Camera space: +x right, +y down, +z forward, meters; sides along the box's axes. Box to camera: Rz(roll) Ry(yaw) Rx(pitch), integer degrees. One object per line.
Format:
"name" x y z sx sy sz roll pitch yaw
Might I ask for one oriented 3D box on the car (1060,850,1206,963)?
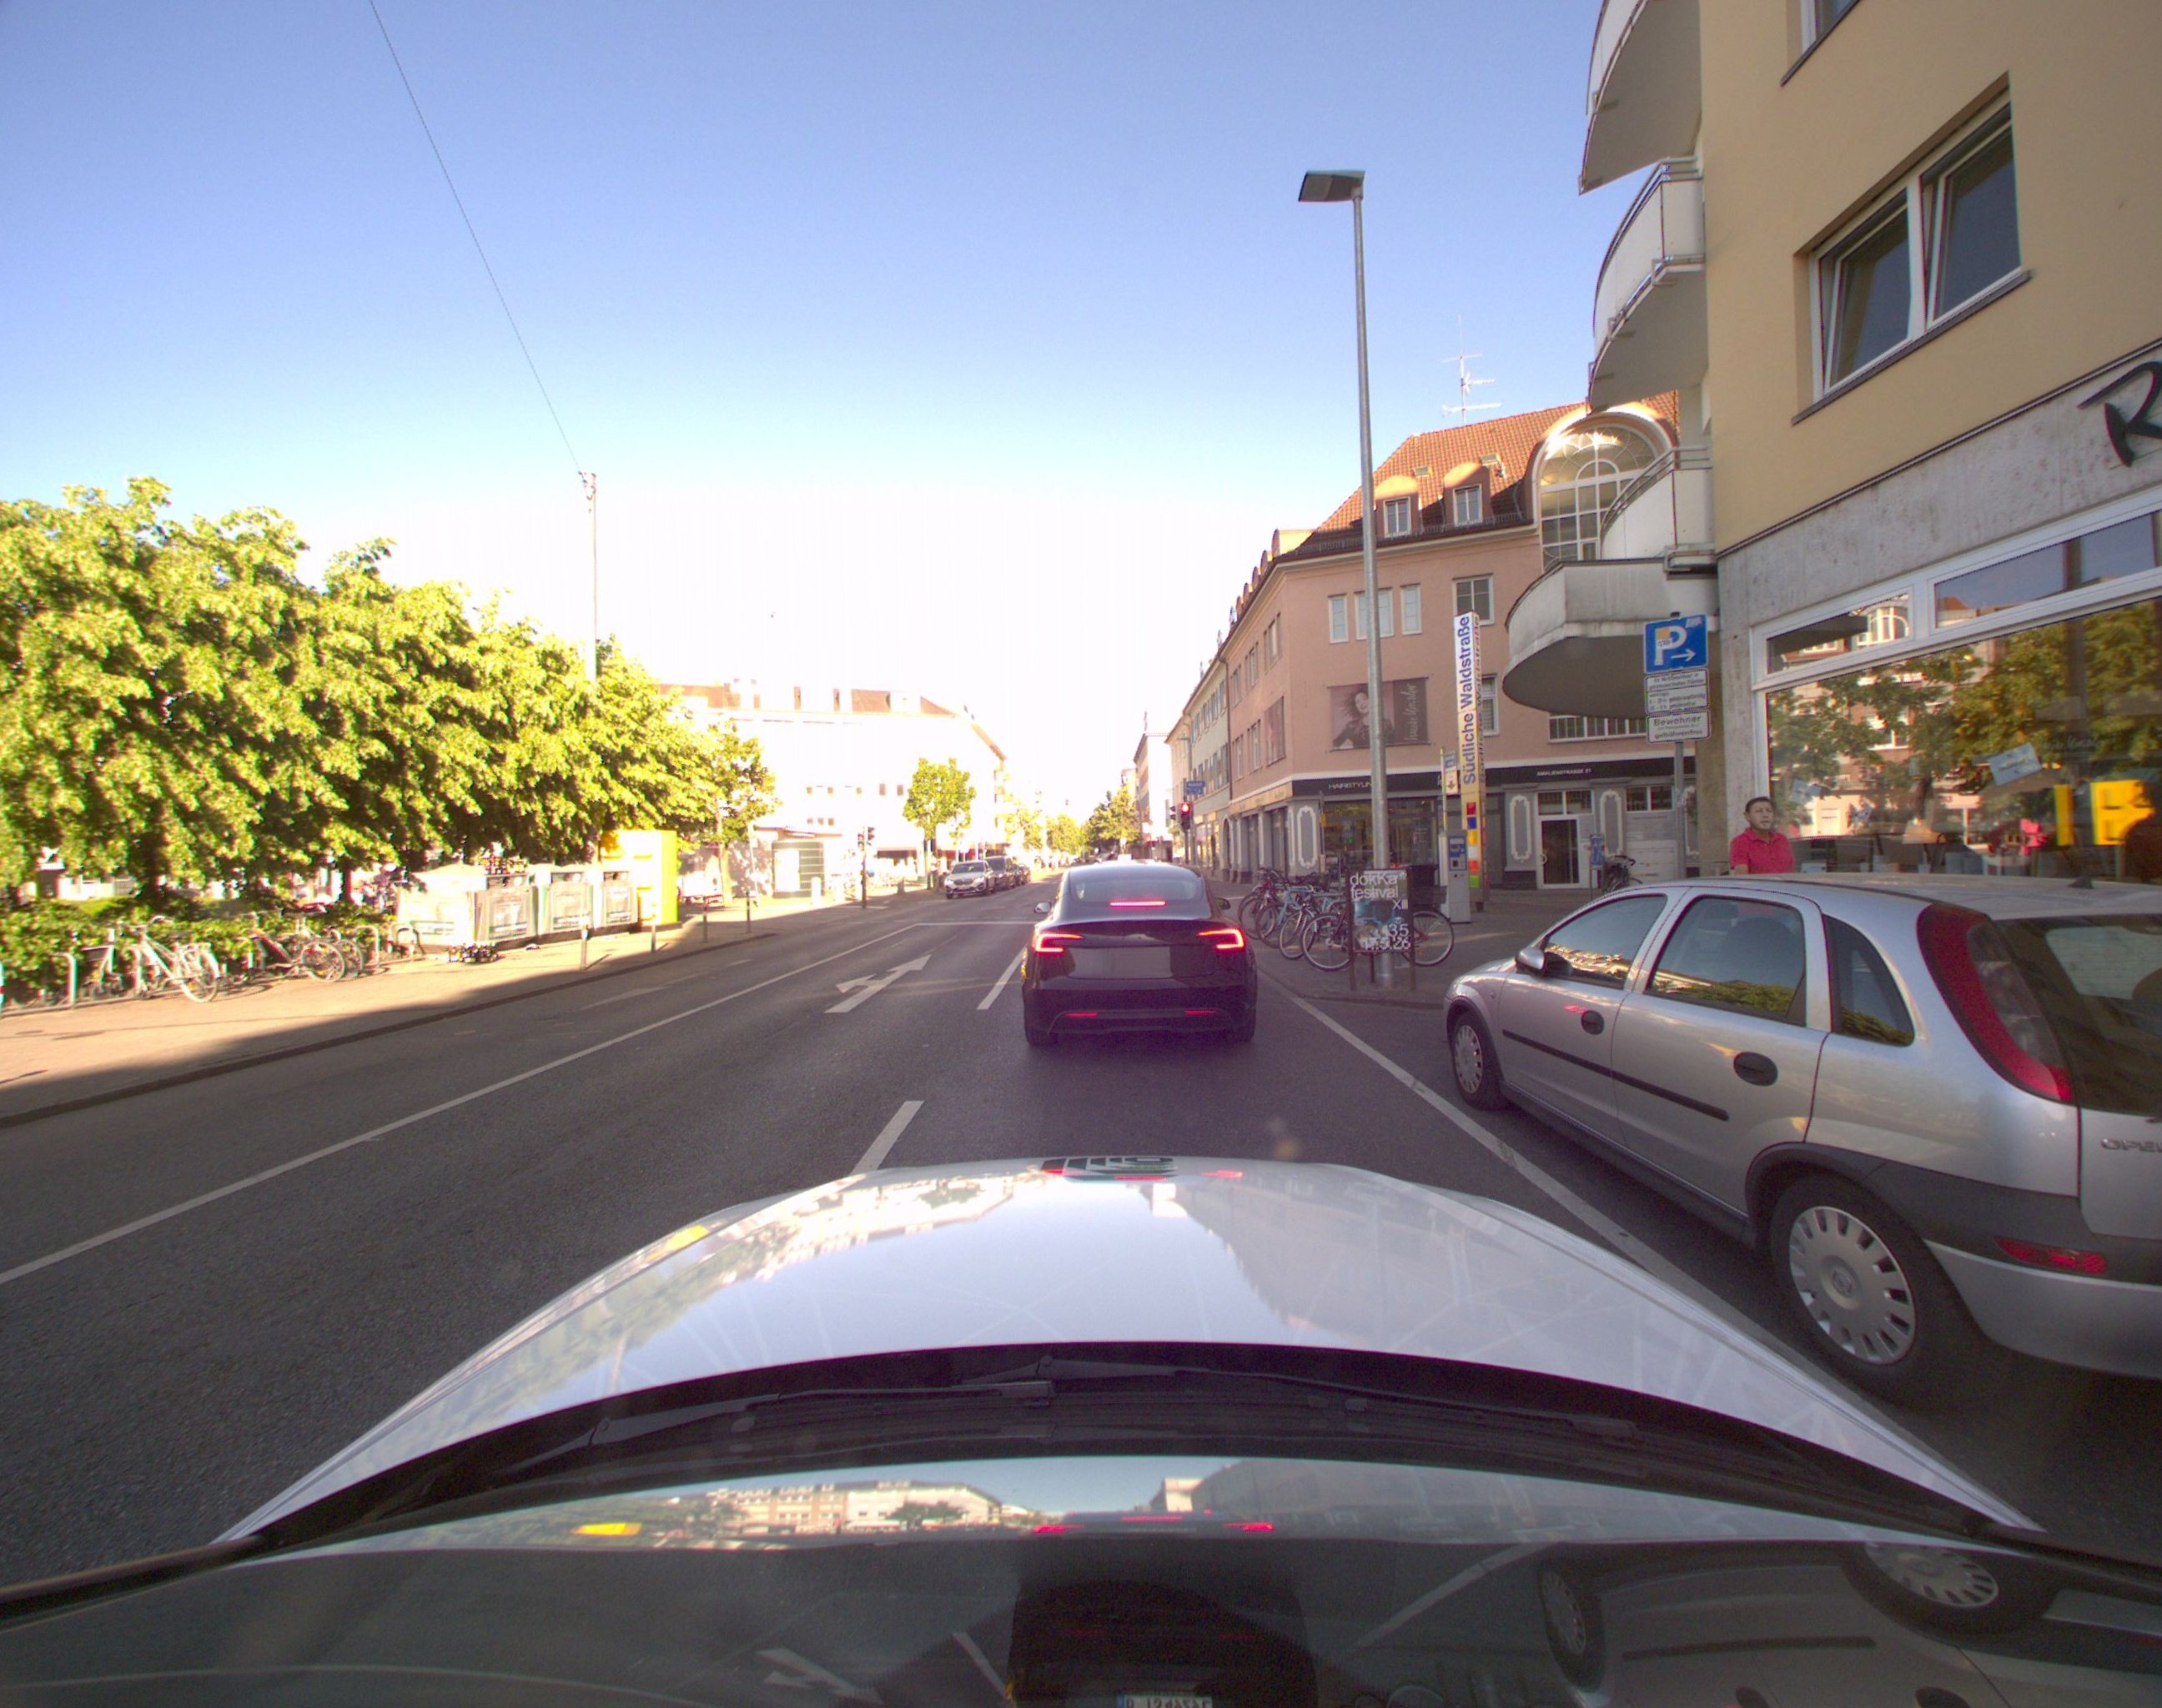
"car" 0.742 0.727 13.313 1.987 1.512 4.175 -1 0 0

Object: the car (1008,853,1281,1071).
"car" 0.500 0.760 7.605 1.841 1.455 4.001 -1 0 2

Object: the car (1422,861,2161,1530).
"car" 2.971 0.735 3.523 1.607 1.382 3.645 0 0 2

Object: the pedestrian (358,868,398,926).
"pedestrian" -25.033 1.511 28.998 0.980 2.013 0.910 -2 -1 38

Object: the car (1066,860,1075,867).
"car" -2.475 2.164 187.370 1.988 1.637 3.998 -1 0 -1

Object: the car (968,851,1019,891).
"car" -4.509 0.857 42.857 1.827 1.845 4.677 -5 0 2

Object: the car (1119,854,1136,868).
"car" 5.776 0.898 100.747 1.986 1.629 4.002 -1 0 2

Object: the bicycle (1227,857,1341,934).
"bicycle" 3.624 0.743 14.713 1.851 1.258 0.834 -3 -1 7

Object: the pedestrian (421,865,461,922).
"pedestrian" -23.349 1.438 29.703 0.980 2.013 0.910 -2 -1 38

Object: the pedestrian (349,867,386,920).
"pedestrian" -27.995 1.525 31.966 0.980 2.013 0.910 -2 -1 38

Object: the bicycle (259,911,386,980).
"bicycle" -11.349 1.365 12.198 1.517 0.958 0.431 -1 1 3

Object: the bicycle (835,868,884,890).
"bicycle" -12.372 1.368 45.550 2.453 1.156 0.843 -1 0 0

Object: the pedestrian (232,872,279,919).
"pedestrian" -36.338 1.800 35.856 1.272 2.013 0.908 -1 0 13

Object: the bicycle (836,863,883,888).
"bicycle" -12.902 1.247 47.497 2.472 1.324 0.921 -1 0 -4

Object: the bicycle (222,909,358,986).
"bicycle" -11.317 1.335 11.670 1.561 1.023 0.430 -1 0 3

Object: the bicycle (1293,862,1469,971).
"bicycle" 3.640 0.755 10.017 1.876 1.193 0.693 -3 0 7

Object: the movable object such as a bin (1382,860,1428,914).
"movable object such as a bin" 6.754 0.680 16.980 0.730 1.092 0.628 0 -1 3

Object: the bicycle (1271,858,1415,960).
"bicycle" 3.543 0.729 11.152 1.713 1.268 0.792 -3 -1 7

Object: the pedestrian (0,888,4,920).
"pedestrian" -70.585 3.268 52.694 1.385 2.013 0.910 -1 0 44

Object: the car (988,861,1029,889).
"car" -4.359 1.235 49.680 1.988 1.410 4.672 -5 0 -1

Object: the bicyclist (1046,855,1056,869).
"bicyclist" -3.498 0.930 95.885 1.123 1.628 0.965 -1 0 -1

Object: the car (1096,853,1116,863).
"car" 5.130 0.852 167.674 3.974 2.013 2.000 -1 0 0

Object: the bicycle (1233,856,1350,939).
"bicycle" 3.508 0.714 13.685 1.738 1.267 0.782 -3 -1 4

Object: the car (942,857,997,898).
"car" -4.941 0.994 36.616 1.802 1.555 4.308 -5 0 -1

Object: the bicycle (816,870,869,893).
"bicycle" -12.579 1.440 43.020 2.497 1.156 0.843 -1 0 0

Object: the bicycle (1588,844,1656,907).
"bicycle" 11.060 0.419 16.731 0.653 1.199 2.223 -2 0 21

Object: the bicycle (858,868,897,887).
"bicycle" -13.162 1.518 52.691 2.318 1.156 0.841 -1 0 -4

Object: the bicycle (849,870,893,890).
"bicycle" -12.946 1.573 50.256 2.528 1.156 0.841 -1 0 -4

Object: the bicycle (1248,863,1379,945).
"bicycle" 3.524 0.757 12.505 1.788 1.124 0.783 -3 -1 7

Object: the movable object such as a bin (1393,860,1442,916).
"movable object such as a bin" 6.745 0.675 16.342 0.749 1.092 0.628 0 -1 3

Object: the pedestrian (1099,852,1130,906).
"pedestrian" 0.991 0.725 24.081 0.747 1.552 0.696 -1 0 -11

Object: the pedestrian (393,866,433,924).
"pedestrian" -23.744 1.440 28.949 0.980 2.013 0.910 -2 -1 38

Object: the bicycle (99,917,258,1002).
"bicycle" -11.453 1.331 10.351 1.590 1.018 0.430 -1 0 3

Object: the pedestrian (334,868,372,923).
"pedestrian" -27.647 1.546 30.923 0.980 2.013 0.910 -2 -1 38

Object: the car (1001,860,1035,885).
"car" -4.389 1.260 57.278 1.988 1.436 4.672 -5 0 -1

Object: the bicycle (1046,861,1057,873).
"bicycle" -3.472 1.545 95.788 1.108 1.344 3.998 -1 0 -1

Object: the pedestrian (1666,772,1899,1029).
"pedestrian" 5.356 0.339 6.313 0.859 1.784 1.011 -4 -1 10
